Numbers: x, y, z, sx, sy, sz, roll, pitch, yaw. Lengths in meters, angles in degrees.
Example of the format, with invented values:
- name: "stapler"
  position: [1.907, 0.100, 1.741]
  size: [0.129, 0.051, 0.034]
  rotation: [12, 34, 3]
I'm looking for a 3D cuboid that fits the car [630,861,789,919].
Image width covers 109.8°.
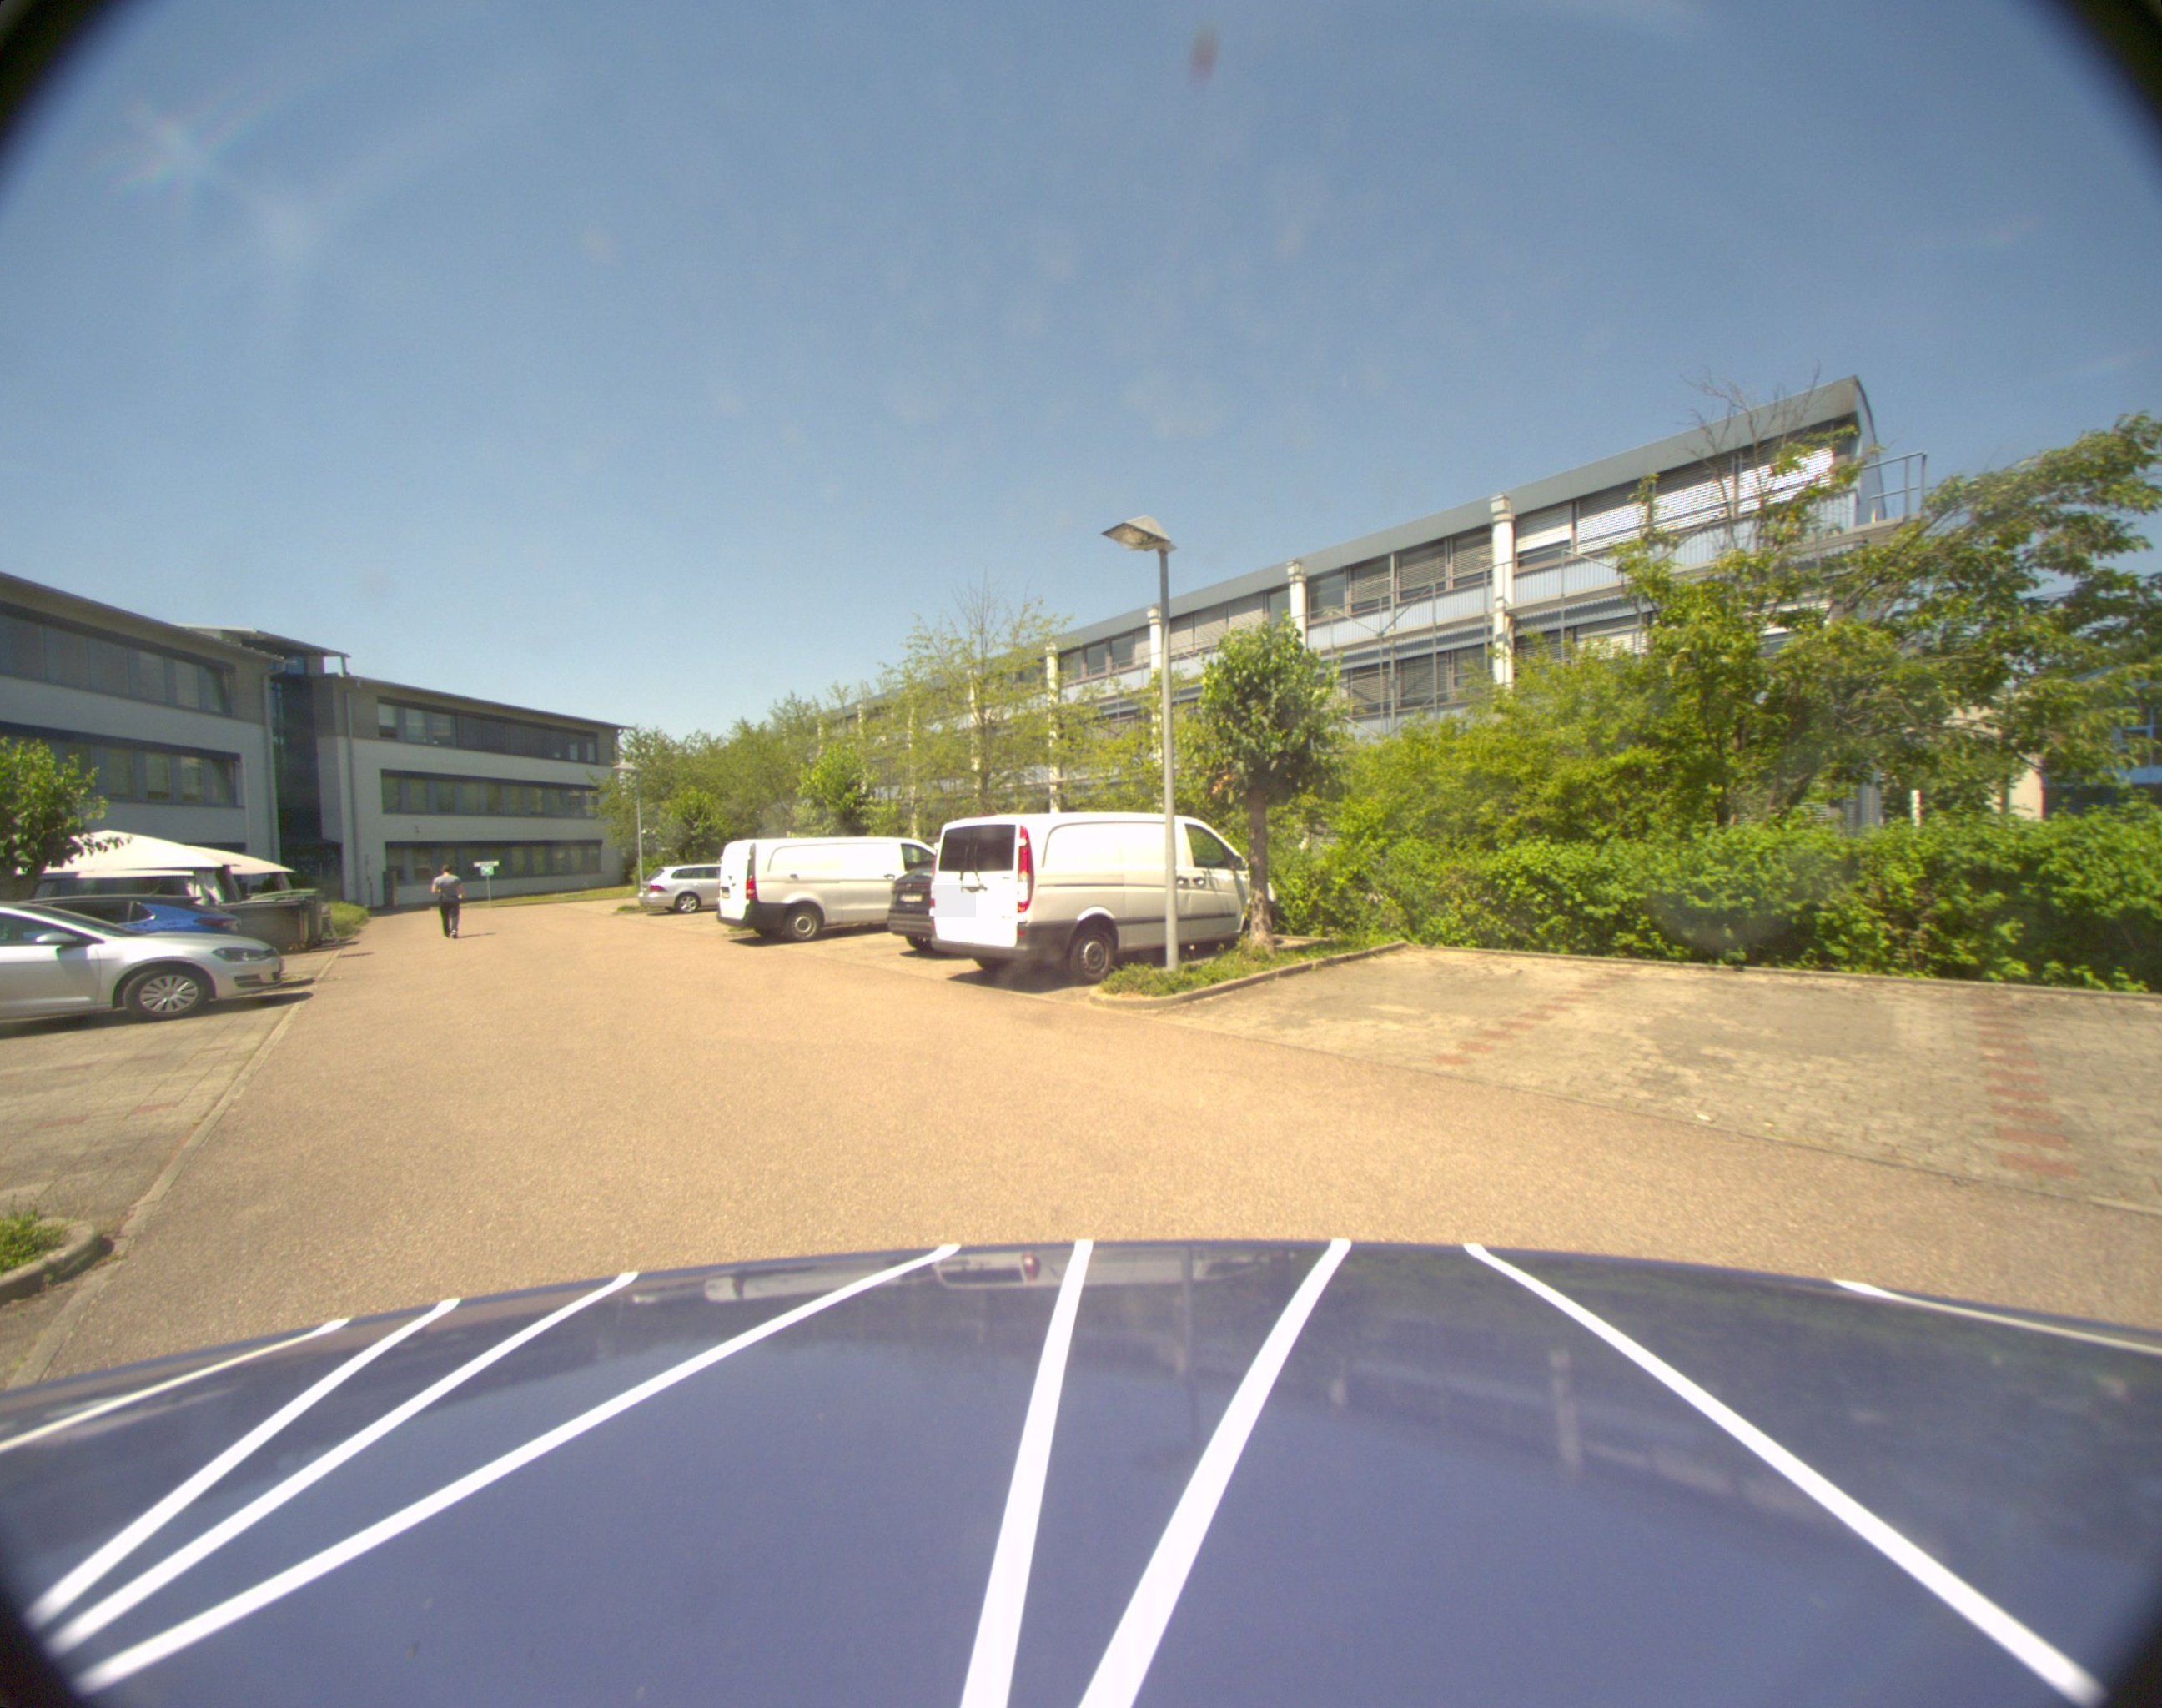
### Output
- name: "car"
  position: [-11.447, 1.043, 23.562]
  size: [4.092, 1.475, 1.735]
  rotation: [-3, 1, -40]

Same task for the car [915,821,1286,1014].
- name: "car"
  position: [0.477, 0.574, 9.678]
  size: [4.686, 1.849, 1.863]
  rotation: [-3, 1, -43]

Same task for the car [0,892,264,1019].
- name: "car"
  position: [-14.719, 1.412, 10.416]
  size: [4.621, 1.485, 1.852]
  rotation: [-2, 0, -43]

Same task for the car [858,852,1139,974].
- name: "car"
  position: [-1.169, 0.800, 12.155]
  size: [4.205, 1.475, 1.735]
  rotation: [-3, 1, -43]

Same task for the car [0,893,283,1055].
- name: "car"
  position: [-11.888, 1.317, 8.145]
  size: [4.436, 1.511, 1.852]
  rotation: [-2, 0, -43]

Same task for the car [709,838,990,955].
- name: "car"
  position: [-4.428, 0.706, 15.088]
  size: [4.944, 1.845, 1.852]
  rotation: [-3, 1, -40]

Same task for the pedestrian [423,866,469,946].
- name: "pedestrian"
  position: [-14.687, 1.186, 17.592]
  size: [0.700, 1.747, 0.774]
  rotation: [-5, 3, -39]
